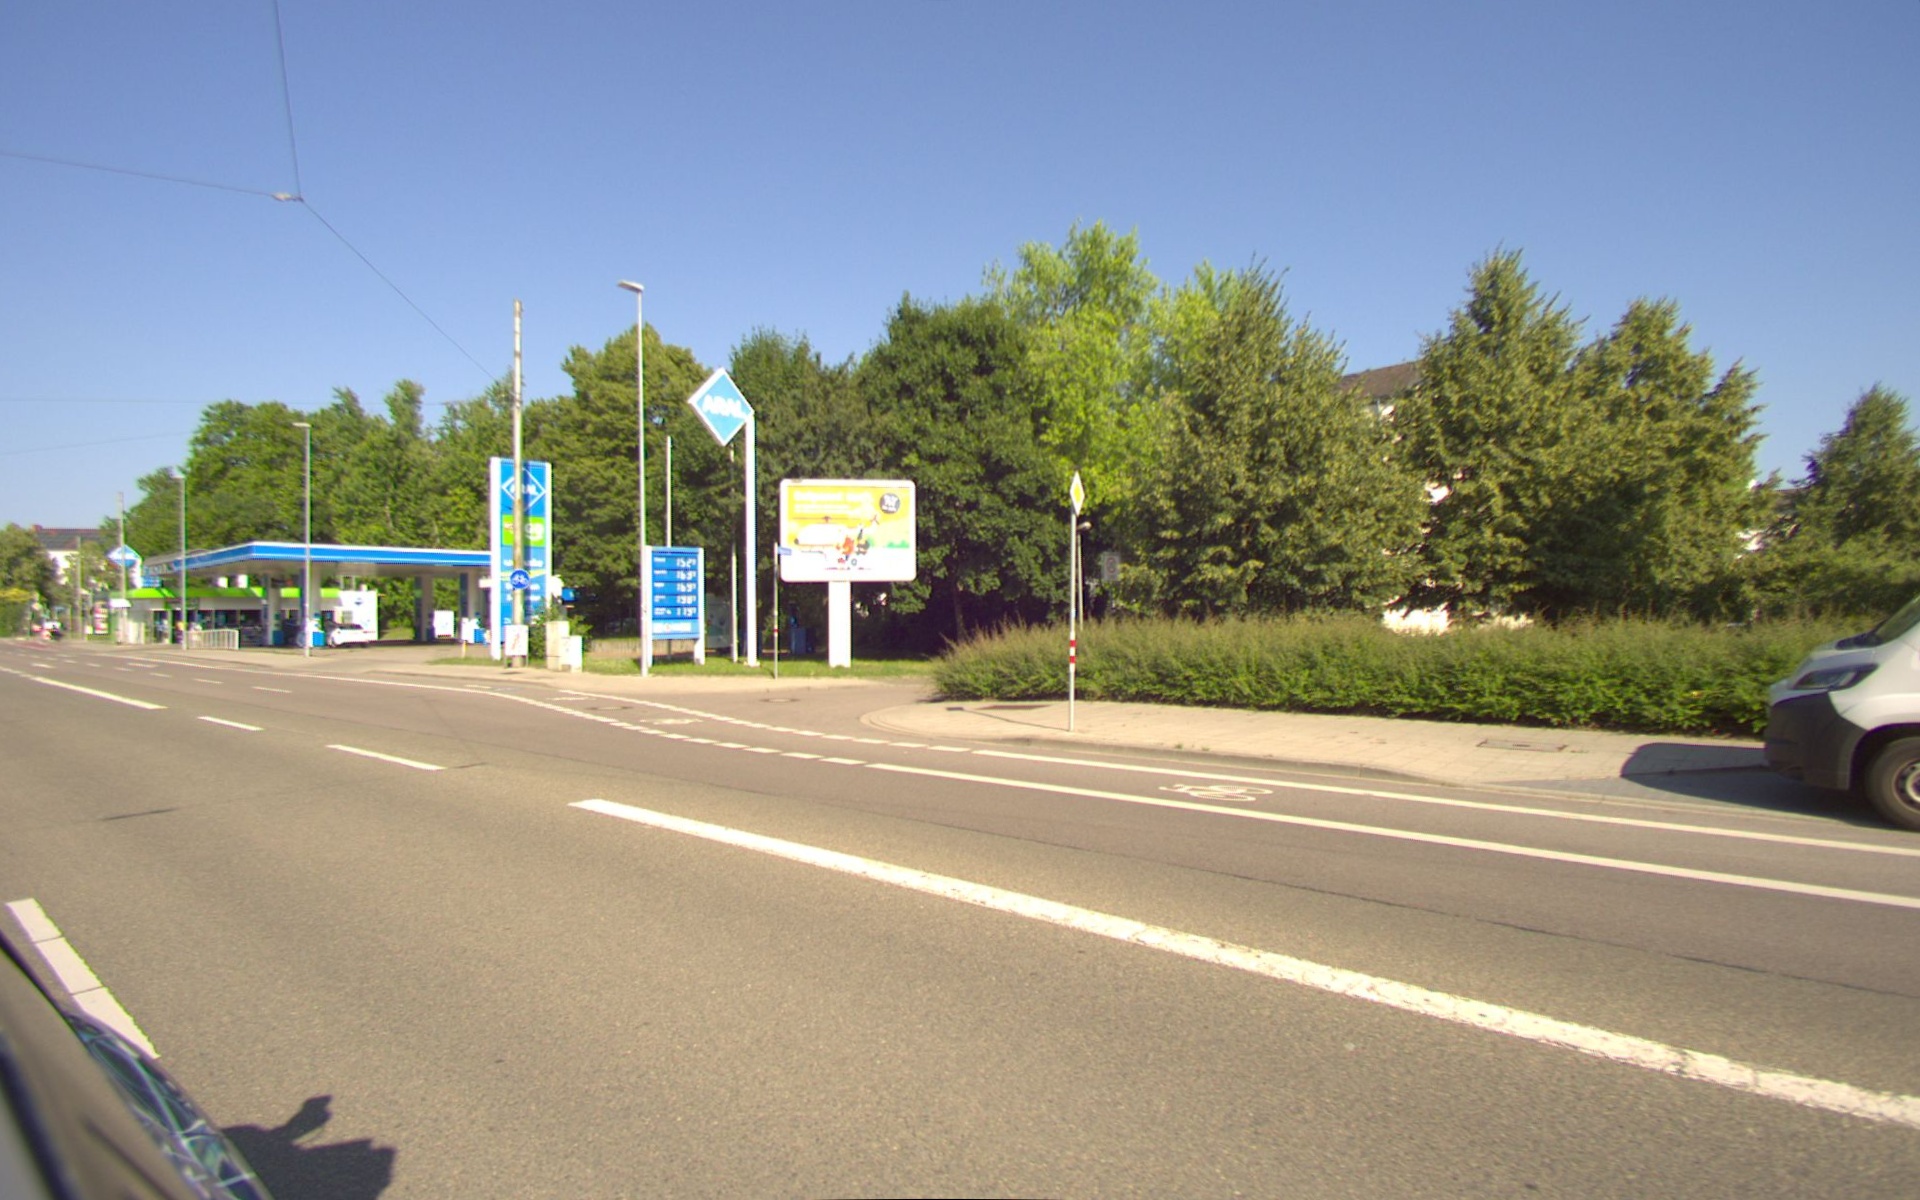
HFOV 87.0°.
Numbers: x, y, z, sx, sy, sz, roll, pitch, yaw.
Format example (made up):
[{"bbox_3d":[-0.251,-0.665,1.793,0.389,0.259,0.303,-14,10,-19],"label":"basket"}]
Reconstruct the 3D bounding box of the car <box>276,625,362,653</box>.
[{"bbox_3d":[-46.849,2.806,74.073,1.858,1.955,5.013,-2,-2,45],"label":"car"}]

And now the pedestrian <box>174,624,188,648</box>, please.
[{"bbox_3d":[-55.347,2.552,71.918,0.594,1.744,0.665,0,-2,-18],"label":"pedestrian"}]

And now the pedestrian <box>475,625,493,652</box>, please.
[{"bbox_3d":[-30.665,2.474,65.234,0.795,1.703,0.807,-2,-2,40],"label":"pedestrian"}]

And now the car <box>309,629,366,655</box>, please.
[{"bbox_3d":[-36.816,2.464,59.798,4.273,1.502,1.718,-1,-2,42],"label":"car"}]

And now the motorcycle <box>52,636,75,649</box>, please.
[{"bbox_3d":[-85.407,4.024,96.475,0.722,1.237,2.270,0,-1,-16],"label":"motorcycle"}]

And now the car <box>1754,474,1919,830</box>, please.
[{"bbox_3d":[9.035,0.277,6.421,6.179,2.476,2.130,-2,1,40],"label":"car"}]

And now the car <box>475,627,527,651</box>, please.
[{"bbox_3d":[-30.016,2.527,66.131,4.001,1.457,1.717,-2,-2,44],"label":"car"}]

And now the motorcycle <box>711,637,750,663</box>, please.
[{"bbox_3d":[-9.206,1.995,40.603,1.904,0.989,0.512,-2,-2,41],"label":"motorcycle"}]
